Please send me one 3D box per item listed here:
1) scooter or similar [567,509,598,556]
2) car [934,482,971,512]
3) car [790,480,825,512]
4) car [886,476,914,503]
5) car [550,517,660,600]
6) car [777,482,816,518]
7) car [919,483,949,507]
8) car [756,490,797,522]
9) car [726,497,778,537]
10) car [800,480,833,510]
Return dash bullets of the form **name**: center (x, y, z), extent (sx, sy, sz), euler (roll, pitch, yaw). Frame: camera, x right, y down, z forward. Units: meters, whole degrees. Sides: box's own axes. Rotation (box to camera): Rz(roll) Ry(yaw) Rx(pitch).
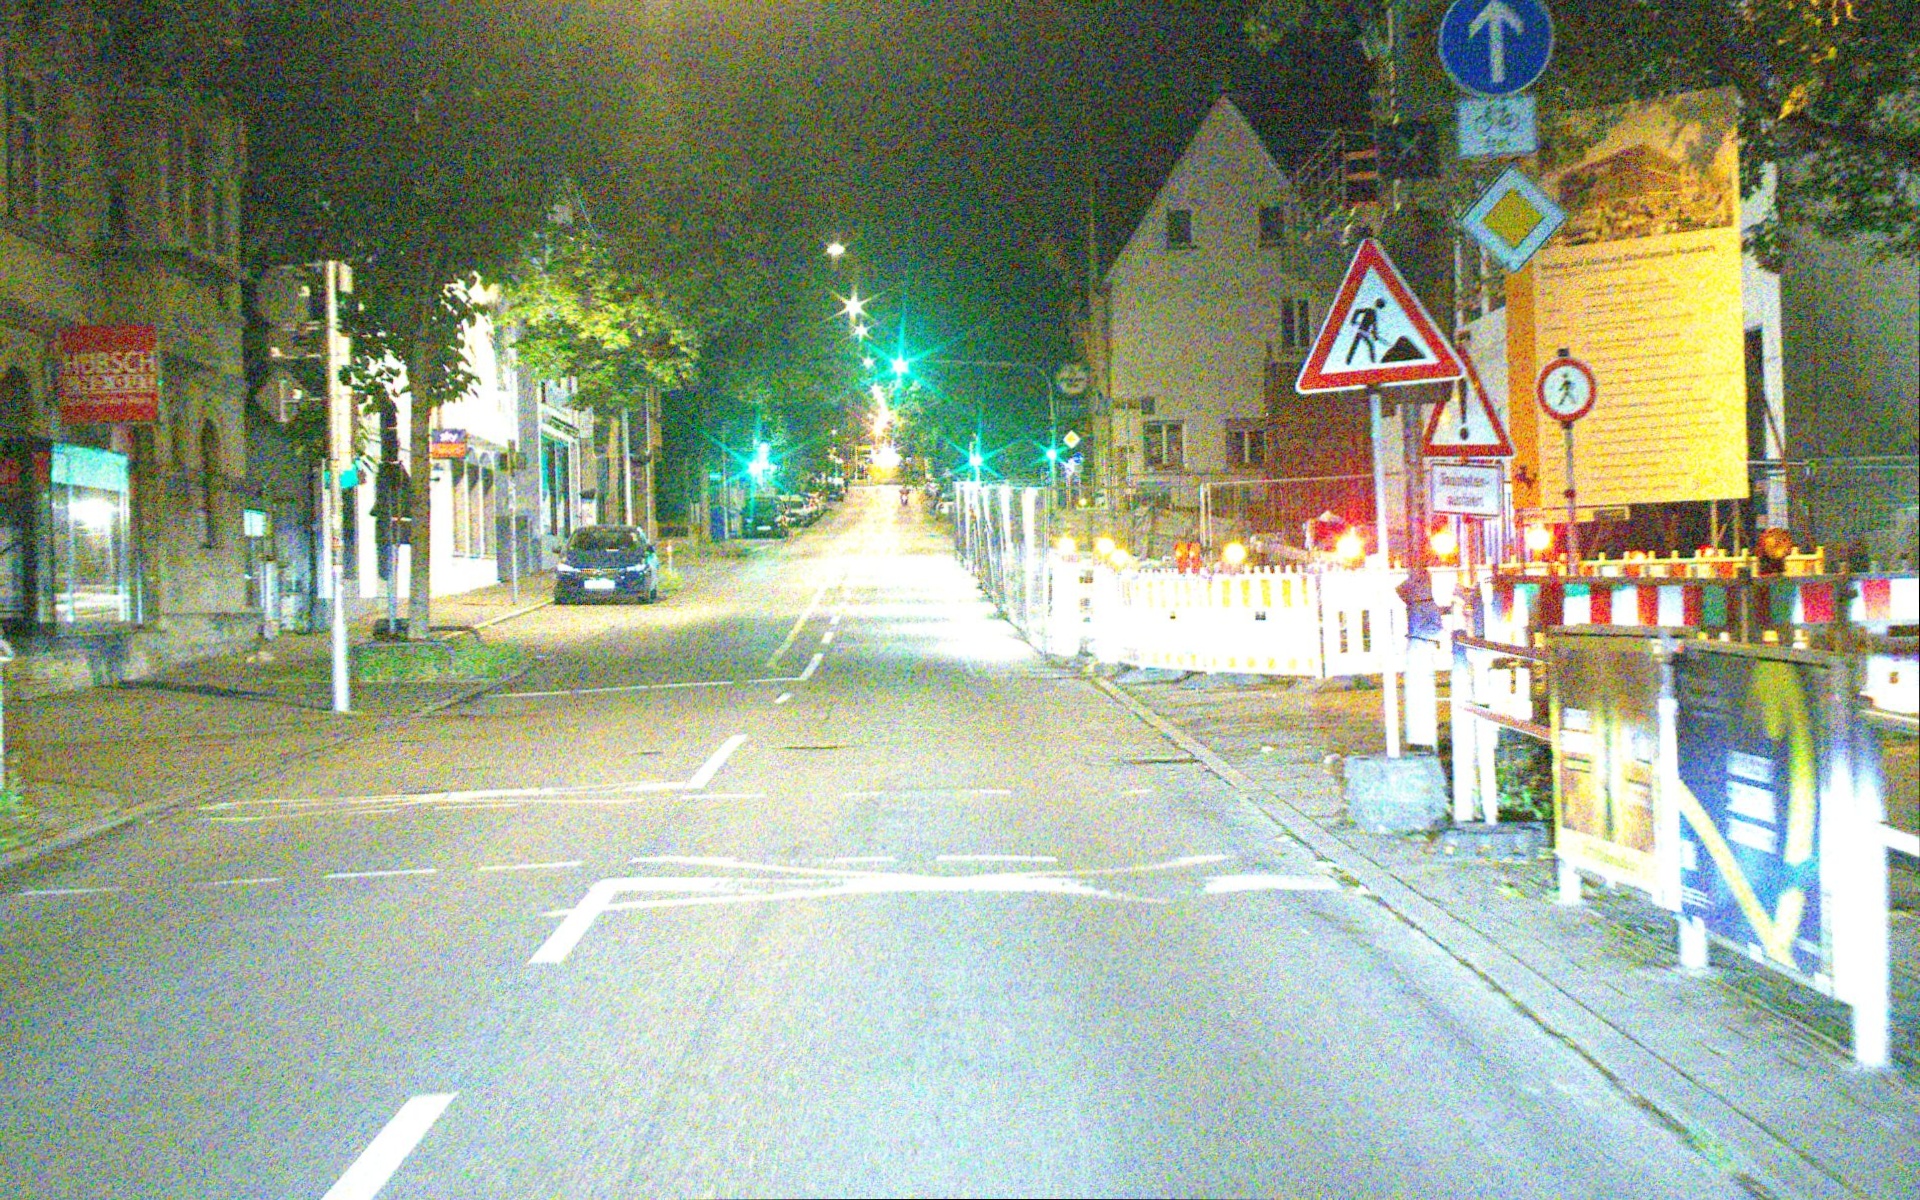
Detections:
- **scooter or similar**: center (-9.948, -1.771, 90.713), extent (0.528, 1.161, 2.507), euler (-3, 0, -1)
- **car**: center (-0.423, -5.628, 187.326), extent (1.873, 1.539, 4.205), euler (-1, 2, -1)
- **car**: center (-8.780, -6.010, 198.517), extent (1.873, 1.808, 4.205), euler (-2, 2, -1)
- **car**: center (-4.219, -7.774, 241.406), extent (1.873, 1.808, 4.205), euler (-1, 2, 0)
- **car**: center (-6.667, -0.814, 64.863), extent (1.671, 1.438, 4.205), euler (-1, 2, -1)
- **car**: center (-8.540, -5.250, 180.230), extent (1.873, 1.808, 4.205), euler (-1, 2, -1)
- **car**: center (-1.733, -6.923, 226.250), extent (1.873, 1.539, 4.205), euler (-1, 2, -1)
- **car**: center (-9.287, -4.783, 174.204), extent (1.873, 1.539, 4.205), euler (-1, 2, -1)
- **car**: center (-8.271, -3.322, 136.861), extent (1.873, 1.539, 4.205), euler (-1, 2, -1)
- **car**: center (-9.050, -6.630, 216.463), extent (1.873, 1.808, 4.205), euler (-1, 2, 0)
